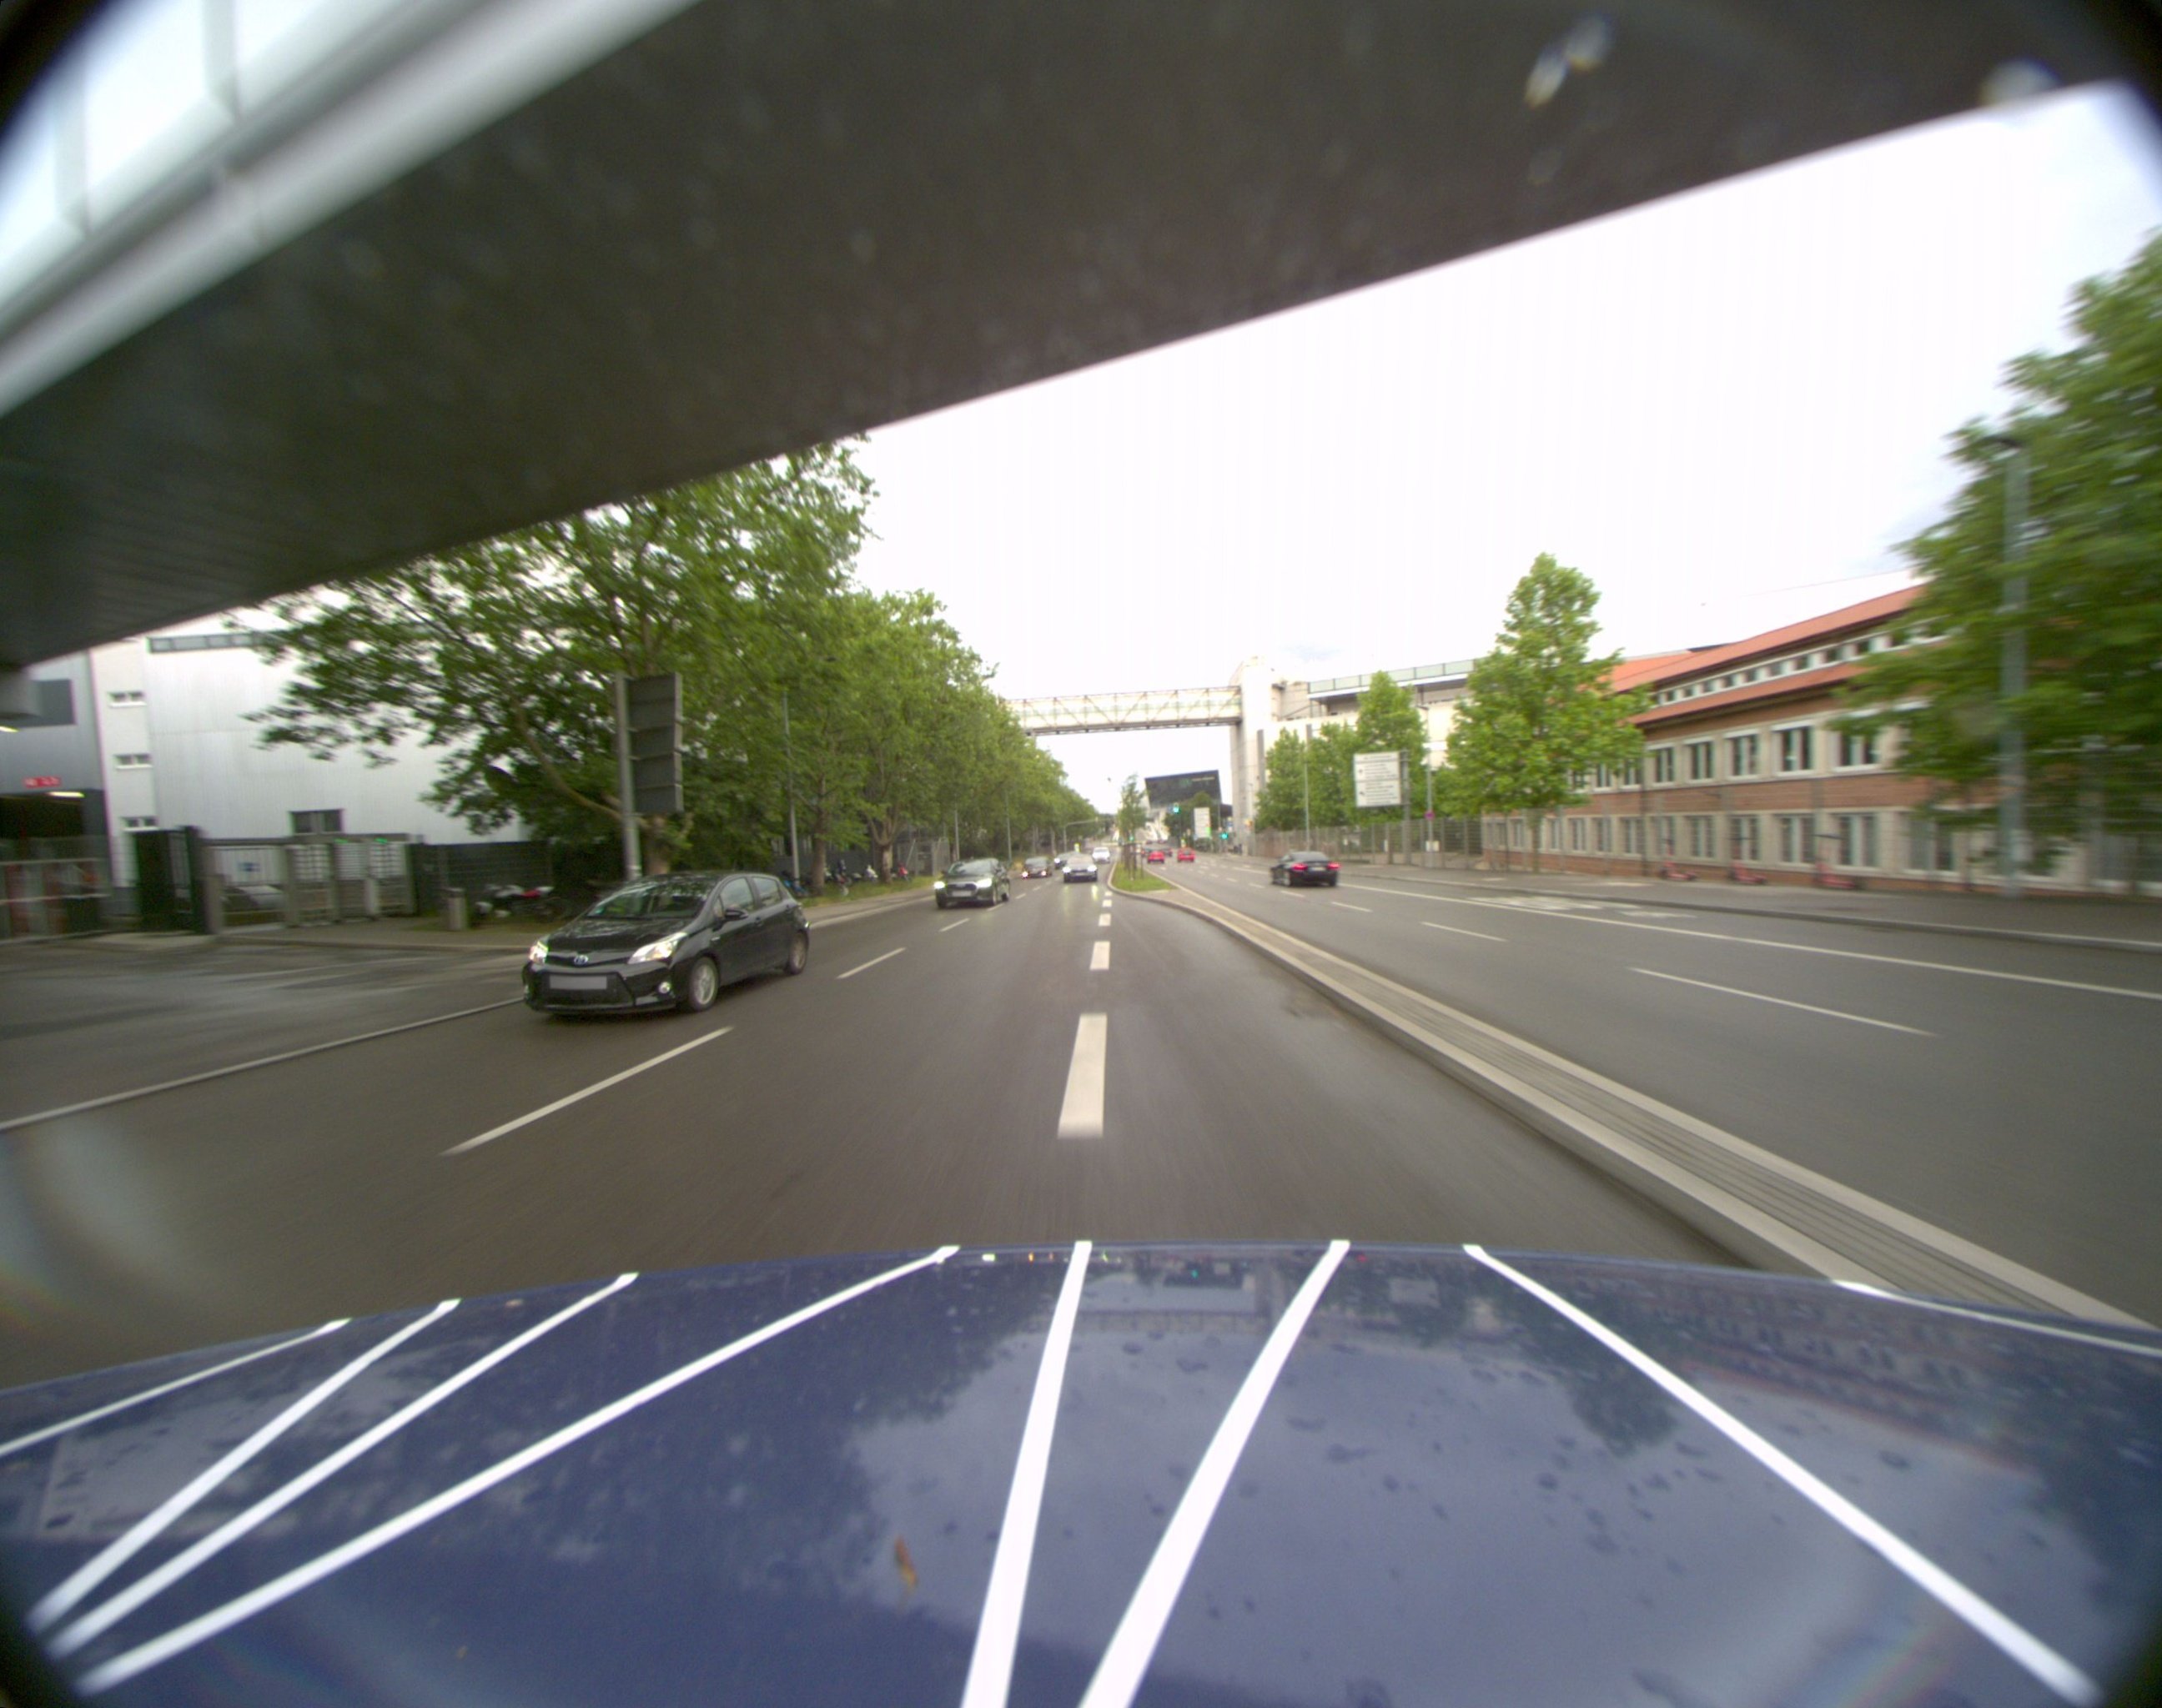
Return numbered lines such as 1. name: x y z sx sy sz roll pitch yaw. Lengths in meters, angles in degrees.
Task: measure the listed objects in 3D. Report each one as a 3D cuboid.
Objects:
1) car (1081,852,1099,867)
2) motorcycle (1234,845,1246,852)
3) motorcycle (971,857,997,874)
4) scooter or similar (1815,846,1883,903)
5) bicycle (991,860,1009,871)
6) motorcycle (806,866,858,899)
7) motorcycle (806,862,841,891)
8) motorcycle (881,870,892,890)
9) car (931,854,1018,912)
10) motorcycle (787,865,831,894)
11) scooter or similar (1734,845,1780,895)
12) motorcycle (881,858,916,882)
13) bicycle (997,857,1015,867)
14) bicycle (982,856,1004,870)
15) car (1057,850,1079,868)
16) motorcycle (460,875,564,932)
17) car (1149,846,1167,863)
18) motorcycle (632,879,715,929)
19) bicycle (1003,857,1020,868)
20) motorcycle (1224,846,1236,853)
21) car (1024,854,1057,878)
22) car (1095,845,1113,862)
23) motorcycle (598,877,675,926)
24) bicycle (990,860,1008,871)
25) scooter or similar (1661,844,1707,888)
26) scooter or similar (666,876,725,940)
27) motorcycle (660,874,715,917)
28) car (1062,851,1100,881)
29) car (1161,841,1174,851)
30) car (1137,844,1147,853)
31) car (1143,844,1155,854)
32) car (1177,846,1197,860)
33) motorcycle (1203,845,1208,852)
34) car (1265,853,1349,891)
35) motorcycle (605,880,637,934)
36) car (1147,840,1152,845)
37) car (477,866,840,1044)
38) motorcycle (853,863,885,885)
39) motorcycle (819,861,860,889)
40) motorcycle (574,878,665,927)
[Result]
1. car: 1.102 0.633 86.980 1.819 1.571 4.332 -3 1 3
2. motorcycle: 24.552 -0.808 117.597 0.627 1.021 2.166 -2 1 -24
3. motorcycle: -7.561 0.868 59.312 2.011 1.266 0.442 -1 1 15
4. scooter or similar: 17.020 0.432 16.876 0.312 1.211 1.308 -2 0 8
5. bicycle: -7.368 1.024 69.131 1.555 0.953 0.393 -2 1 3
6. motorcycle: -9.733 1.111 29.732 1.855 1.184 0.521 -2 1 -13
7. motorcycle: -13.160 1.153 38.862 1.502 1.357 0.506 -4 2 -2
8. motorcycle: -11.904 1.576 46.485 0.478 1.139 1.894 -5 1 -17
9. car: -3.422 0.871 25.505 1.819 1.536 5.608 -3 1 3
10. motorcycle: -13.238 1.246 36.923 1.918 1.250 0.491 -4 2 9
11. scooter or similar: 17.144 0.390 19.293 0.312 1.211 1.309 -2 0 15
12. motorcycle: -9.551 0.851 39.718 1.656 1.143 0.493 -4 2 11
13. bicycle: -7.207 0.798 72.849 1.611 0.934 0.387 -1 1 3
14. bicycle: -7.542 0.788 64.935 1.793 1.160 0.447 -2 1 -3
15. car: -1.264 0.437 75.723 1.825 1.581 4.332 -3 1 3
16. motorcycle: -14.277 1.215 19.126 0.348 1.272 2.075 -2 0 31
17. car: 7.870 0.041 78.035 1.589 1.596 3.855 -1 1 3
18. motorcycle: -11.179 1.353 20.909 1.855 1.245 0.629 -2 1 -13
19. bicycle: -6.477 0.777 70.955 1.555 0.999 0.393 -2 1 3
20. motorcycle: 23.473 -0.758 119.587 0.628 1.021 2.165 -2 2 -32
21. car: -2.769 0.803 52.460 1.749 1.422 4.517 -3 1 3
22. car: 2.724 -0.093 89.709 2.034 1.920 4.332 -3 1 3
23. motorcycle: -12.948 1.363 22.195 0.520 1.272 1.858 -2 0 34
24. bicycle: -7.400 1.033 68.716 1.555 0.953 0.393 -2 1 3
25. scooter or similar: 17.275 0.338 21.791 0.312 1.211 1.308 -2 0 3
26. scooter or similar: -8.386 1.152 16.580 0.312 1.291 1.309 -2 1 14
27. motorcycle: -13.004 1.340 25.162 0.647 1.272 1.991 -2 1 2
28. car: 0.057 0.648 41.381 1.819 1.536 4.065 -1 -1 3
29. car: 12.915 -1.206 113.655 1.777 1.396 4.615 -1 1 3
30. car: 11.303 -1.079 140.103 1.775 1.580 4.485 -1 1 4
31. car: 10.103 -0.715 112.498 1.581 1.396 4.111 -1 1 3
32. car: 11.233 -0.129 80.671 1.719 1.429 3.771 -1 1 2
33. motorcycle: 21.472 -1.029 130.735 0.569 1.156 2.038 -1 1 2
34. car: 8.994 0.676 30.714 2.069 1.354 4.757 -2 0 1
35. motorcycle: -11.649 1.310 19.221 0.631 1.245 1.850 -2 0 -32
36. car: 23.598 -4.093 262.862 1.775 1.580 4.485 -1 1 4
37. car: -4.800 1.014 9.627 1.749 1.461 4.640 -3 1 3
38. motorcycle: -12.521 1.190 44.918 1.641 1.139 0.560 -4 2 14
39. motorcycle: -12.948 1.105 40.779 1.933 1.357 0.506 -4 2 -2
40. motorcycle: -13.840 1.431 22.854 0.520 1.272 2.285 -1 1 34
